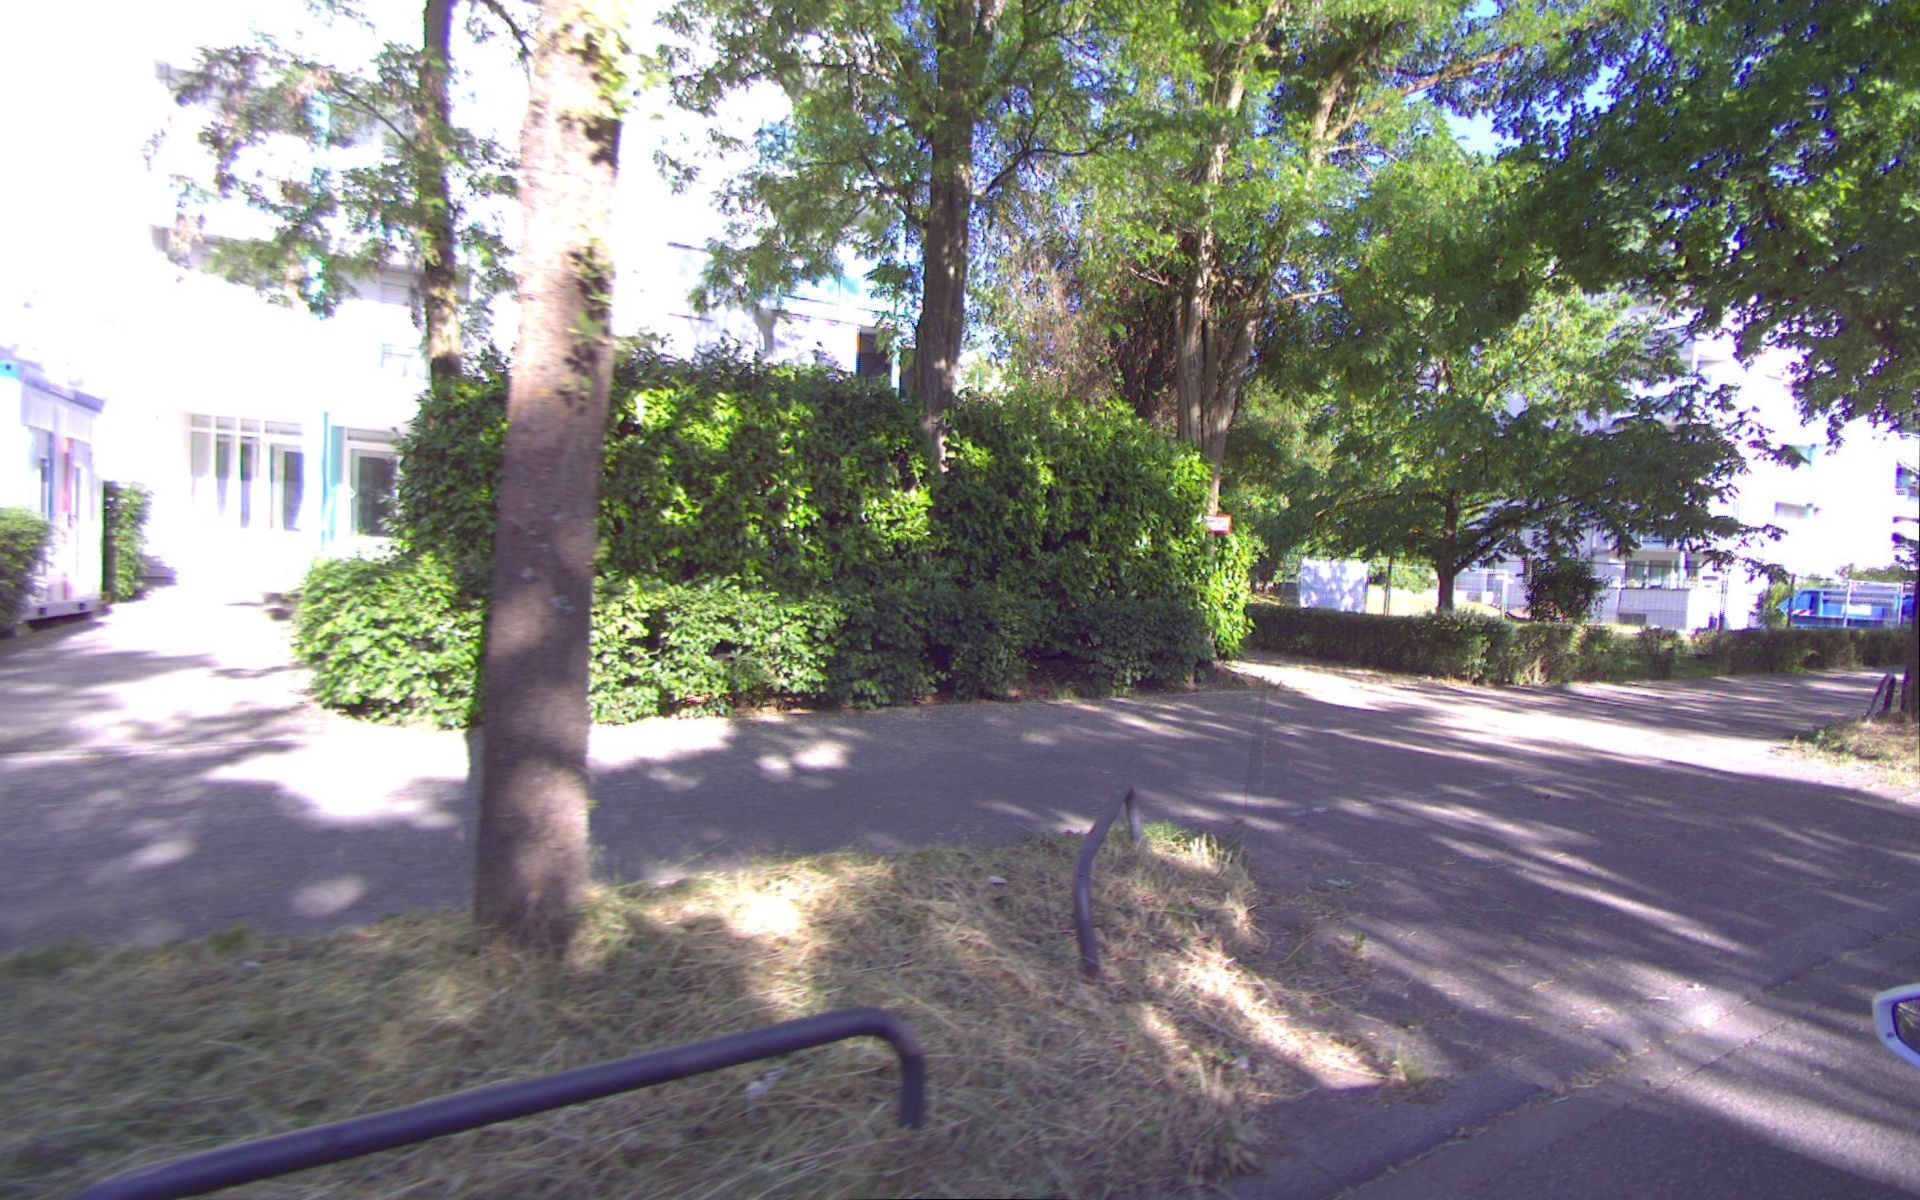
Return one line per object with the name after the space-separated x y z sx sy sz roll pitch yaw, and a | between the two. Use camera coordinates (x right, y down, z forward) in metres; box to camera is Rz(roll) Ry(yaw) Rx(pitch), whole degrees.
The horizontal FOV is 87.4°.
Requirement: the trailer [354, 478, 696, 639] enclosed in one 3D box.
-6.345 -0.535 14.960 4.370 2.070 1.970 1 2 -26 | trailer
